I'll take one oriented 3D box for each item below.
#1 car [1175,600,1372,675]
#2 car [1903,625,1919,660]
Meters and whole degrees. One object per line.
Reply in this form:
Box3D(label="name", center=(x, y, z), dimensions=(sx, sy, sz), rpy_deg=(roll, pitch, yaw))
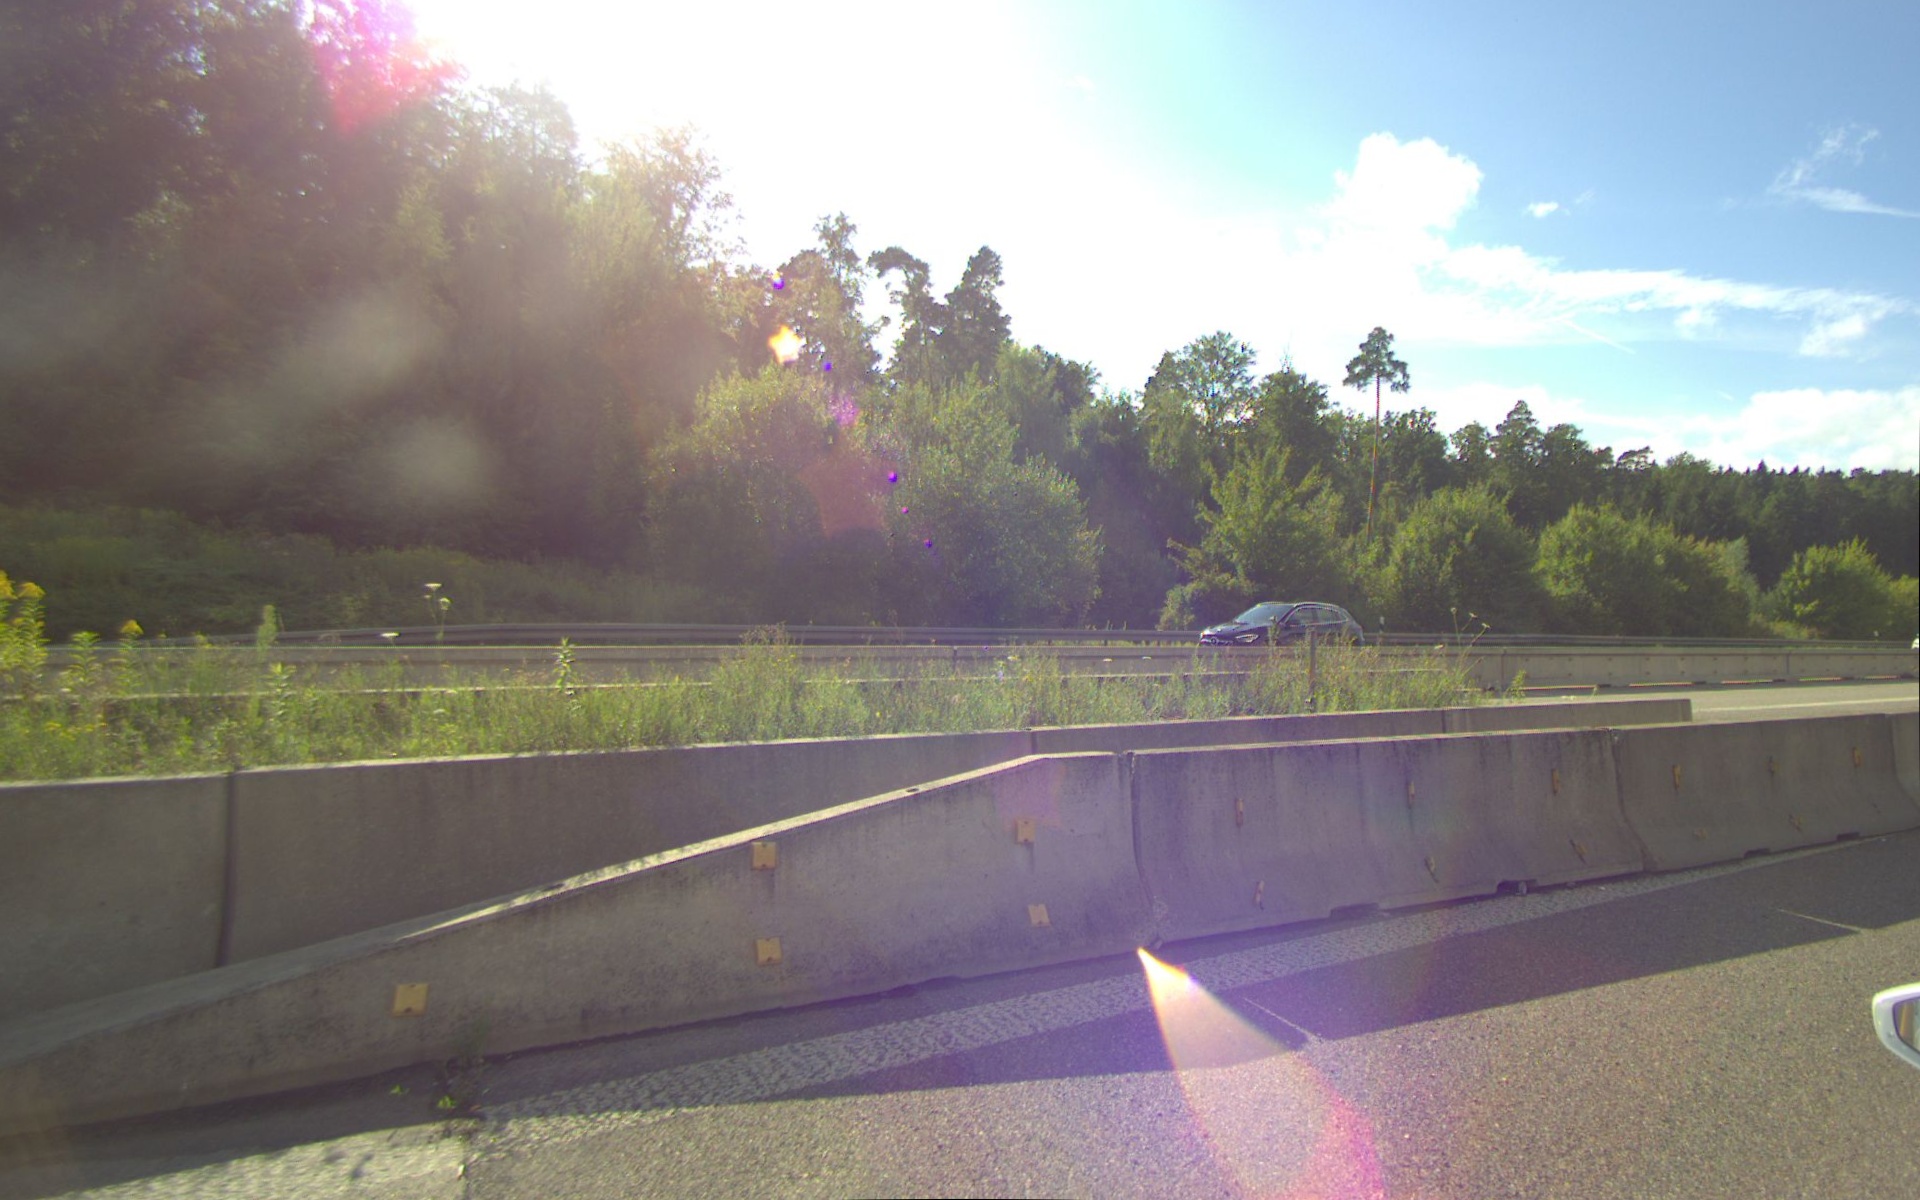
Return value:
Box3D(label="car", center=(7.447, 0.880, 23.786), dimensions=(4.429, 1.610, 1.949), rpy_deg=(2, 0, -30))
Box3D(label="car", center=(46.704, 2.054, 47.582), dimensions=(3.968, 1.624, 1.770), rpy_deg=(2, 0, -29))
